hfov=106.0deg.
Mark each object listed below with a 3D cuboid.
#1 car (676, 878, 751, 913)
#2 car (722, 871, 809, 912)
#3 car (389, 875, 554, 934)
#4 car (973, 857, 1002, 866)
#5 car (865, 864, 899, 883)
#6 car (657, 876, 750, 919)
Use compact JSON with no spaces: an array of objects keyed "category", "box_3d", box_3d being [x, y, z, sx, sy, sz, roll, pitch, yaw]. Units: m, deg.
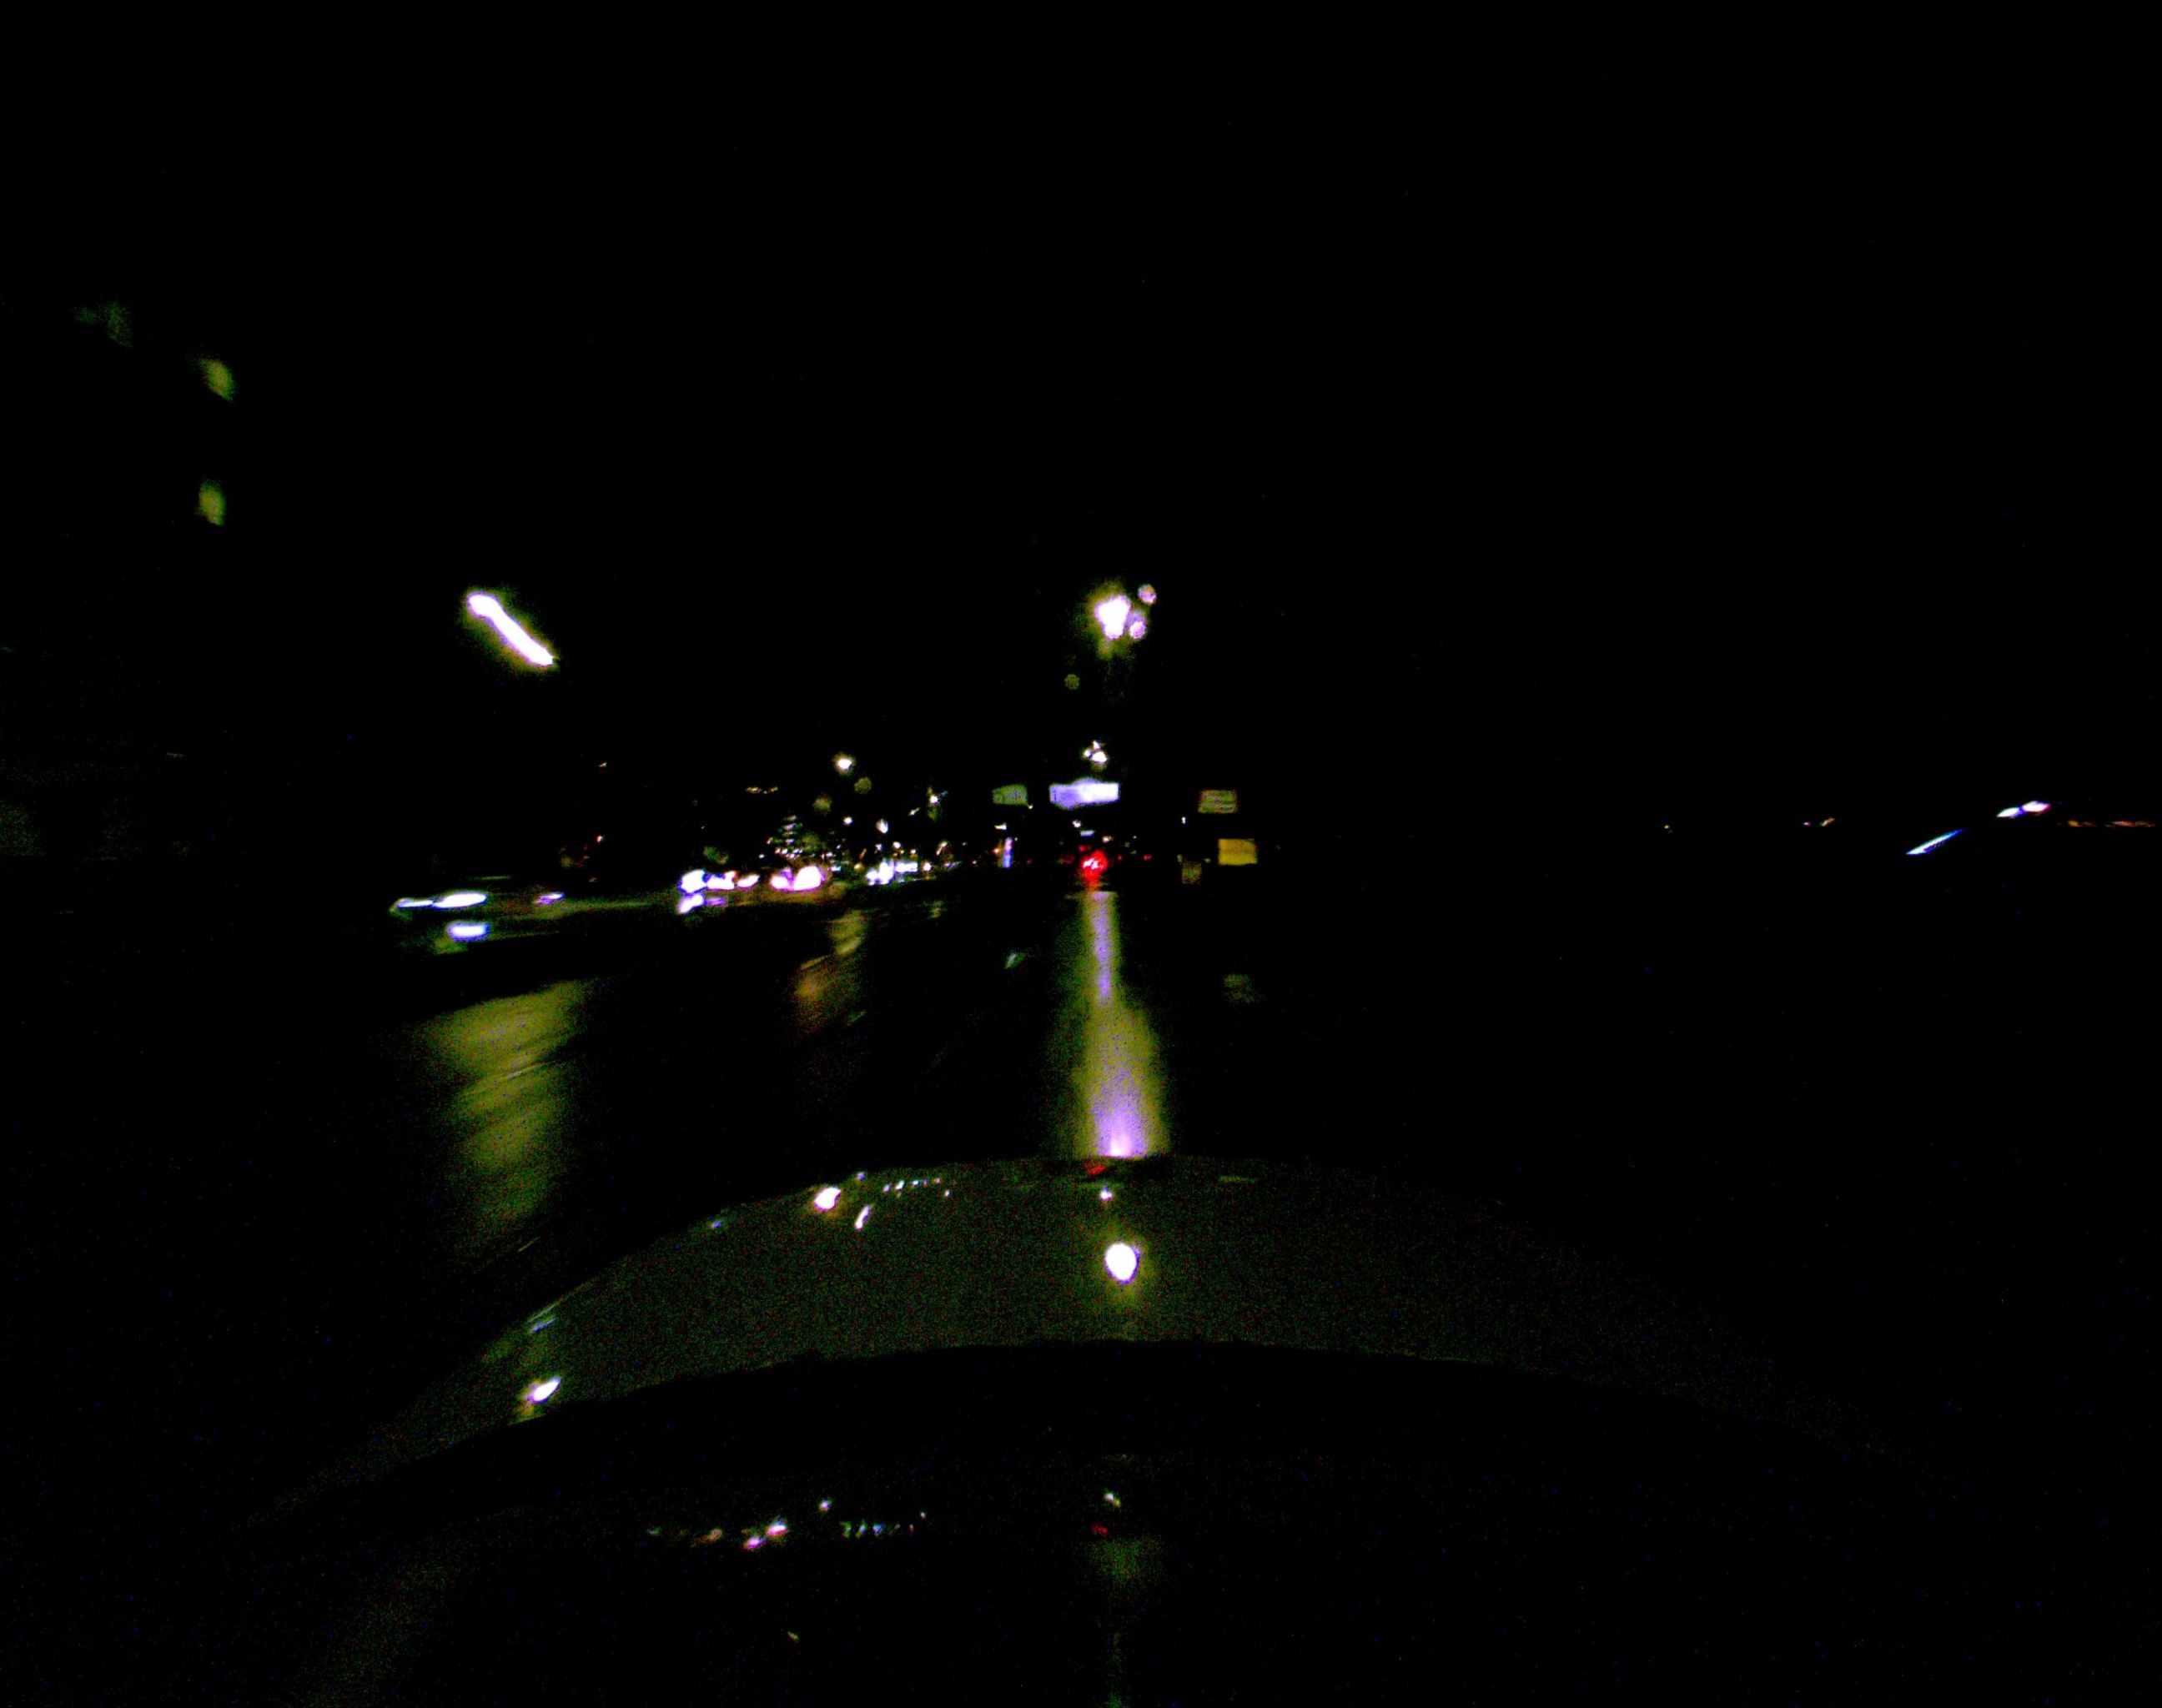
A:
[{"category":"car","box_3d":[-19.117,2.121,42.581,1.836,1.592,4.367,0,0,2]},{"category":"car","box_3d":[-13.044,1.525,33.972,1.836,1.486,4.367,0,0,2]},{"category":"car","box_3d":[-19.004,1.516,25.684,1.836,1.592,4.367,0,0,2]},{"category":"car","box_3d":[-22.486,1.759,196.067,6.323,2.089,2.495,0,0,-25]},{"category":"car","box_3d":[-18.793,1.789,77.084,2.018,1.684,4.547,0,0,0]},{"category":"car","box_3d":[-16.090,1.810,35.007,1.836,1.592,4.367,0,0,2]}]
